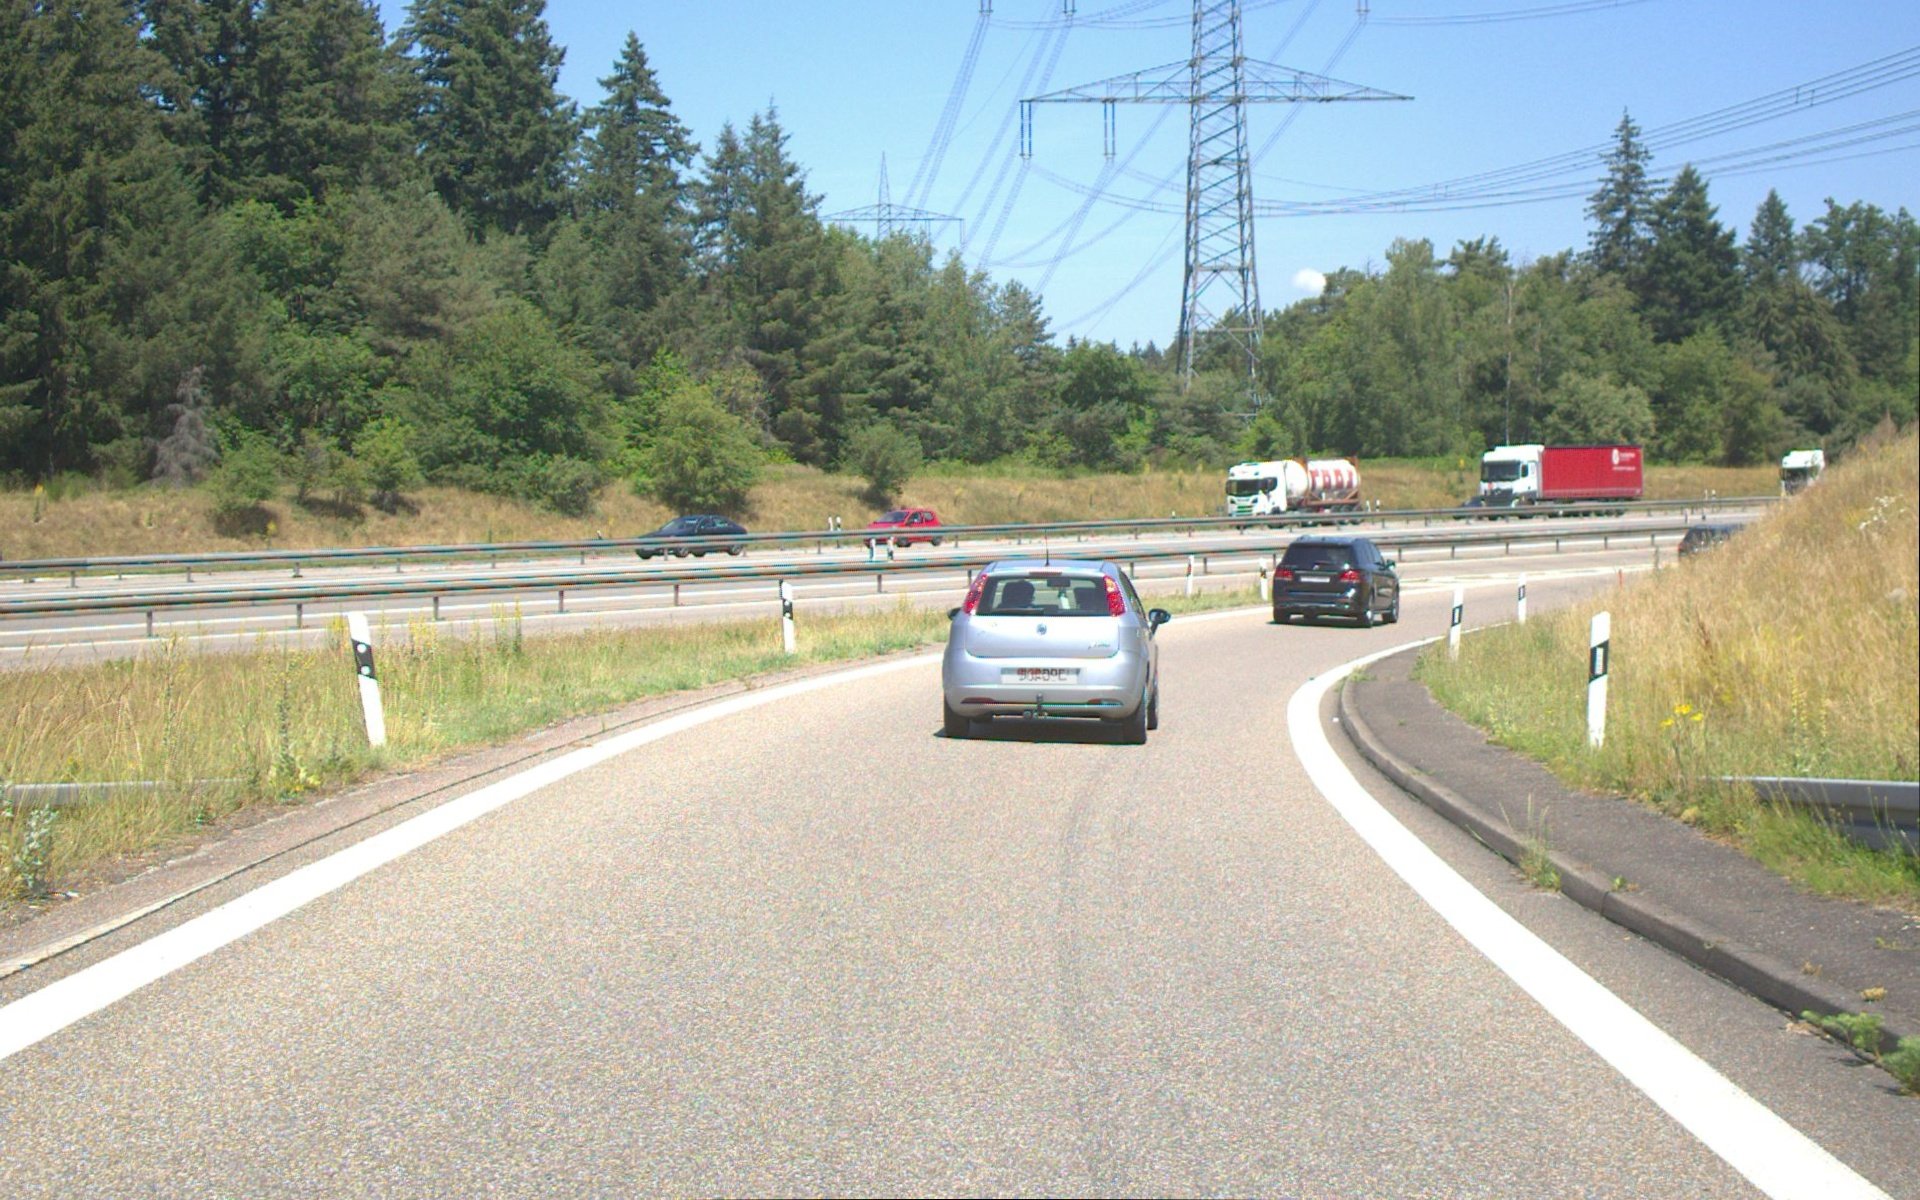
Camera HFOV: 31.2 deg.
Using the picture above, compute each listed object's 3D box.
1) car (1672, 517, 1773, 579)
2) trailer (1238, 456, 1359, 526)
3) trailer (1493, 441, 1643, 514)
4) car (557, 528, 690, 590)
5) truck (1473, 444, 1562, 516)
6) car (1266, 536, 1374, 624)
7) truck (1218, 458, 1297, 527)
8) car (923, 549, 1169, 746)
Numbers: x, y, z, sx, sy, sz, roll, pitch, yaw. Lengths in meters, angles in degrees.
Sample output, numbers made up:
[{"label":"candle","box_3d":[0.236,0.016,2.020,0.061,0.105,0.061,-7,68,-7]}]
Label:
[{"label":"car","box_3d":[22.762,-1.561,102.519,1.884,1.678,3.994,-2,1,28]},{"label":"trailer","box_3d":[19.501,-6.322,197.579,2.778,3.784,8.919,2,4,36]},{"label":"trailer","box_3d":[34.236,-6.923,193.109,2.547,3.784,13.714,2,4,36]},{"label":"car","box_3d":[-11.238,-1.385,114.995,1.998,1.842,4.350,1,4,36]},{"label":"truck","box_3d":[30.508,-6.607,187.983,2.547,3.784,5.657,2,4,36]},{"label":"car","box_3d":[7.151,-0.417,68.121,1.707,1.670,3.396,1,1,13]},{"label":"truck","box_3d":[16.765,-6.100,193.795,2.773,3.784,3.992,2,4,36]},{"label":"car","box_3d":[0.779,0.351,28.907,1.707,1.476,3.397,2,1,7]}]
